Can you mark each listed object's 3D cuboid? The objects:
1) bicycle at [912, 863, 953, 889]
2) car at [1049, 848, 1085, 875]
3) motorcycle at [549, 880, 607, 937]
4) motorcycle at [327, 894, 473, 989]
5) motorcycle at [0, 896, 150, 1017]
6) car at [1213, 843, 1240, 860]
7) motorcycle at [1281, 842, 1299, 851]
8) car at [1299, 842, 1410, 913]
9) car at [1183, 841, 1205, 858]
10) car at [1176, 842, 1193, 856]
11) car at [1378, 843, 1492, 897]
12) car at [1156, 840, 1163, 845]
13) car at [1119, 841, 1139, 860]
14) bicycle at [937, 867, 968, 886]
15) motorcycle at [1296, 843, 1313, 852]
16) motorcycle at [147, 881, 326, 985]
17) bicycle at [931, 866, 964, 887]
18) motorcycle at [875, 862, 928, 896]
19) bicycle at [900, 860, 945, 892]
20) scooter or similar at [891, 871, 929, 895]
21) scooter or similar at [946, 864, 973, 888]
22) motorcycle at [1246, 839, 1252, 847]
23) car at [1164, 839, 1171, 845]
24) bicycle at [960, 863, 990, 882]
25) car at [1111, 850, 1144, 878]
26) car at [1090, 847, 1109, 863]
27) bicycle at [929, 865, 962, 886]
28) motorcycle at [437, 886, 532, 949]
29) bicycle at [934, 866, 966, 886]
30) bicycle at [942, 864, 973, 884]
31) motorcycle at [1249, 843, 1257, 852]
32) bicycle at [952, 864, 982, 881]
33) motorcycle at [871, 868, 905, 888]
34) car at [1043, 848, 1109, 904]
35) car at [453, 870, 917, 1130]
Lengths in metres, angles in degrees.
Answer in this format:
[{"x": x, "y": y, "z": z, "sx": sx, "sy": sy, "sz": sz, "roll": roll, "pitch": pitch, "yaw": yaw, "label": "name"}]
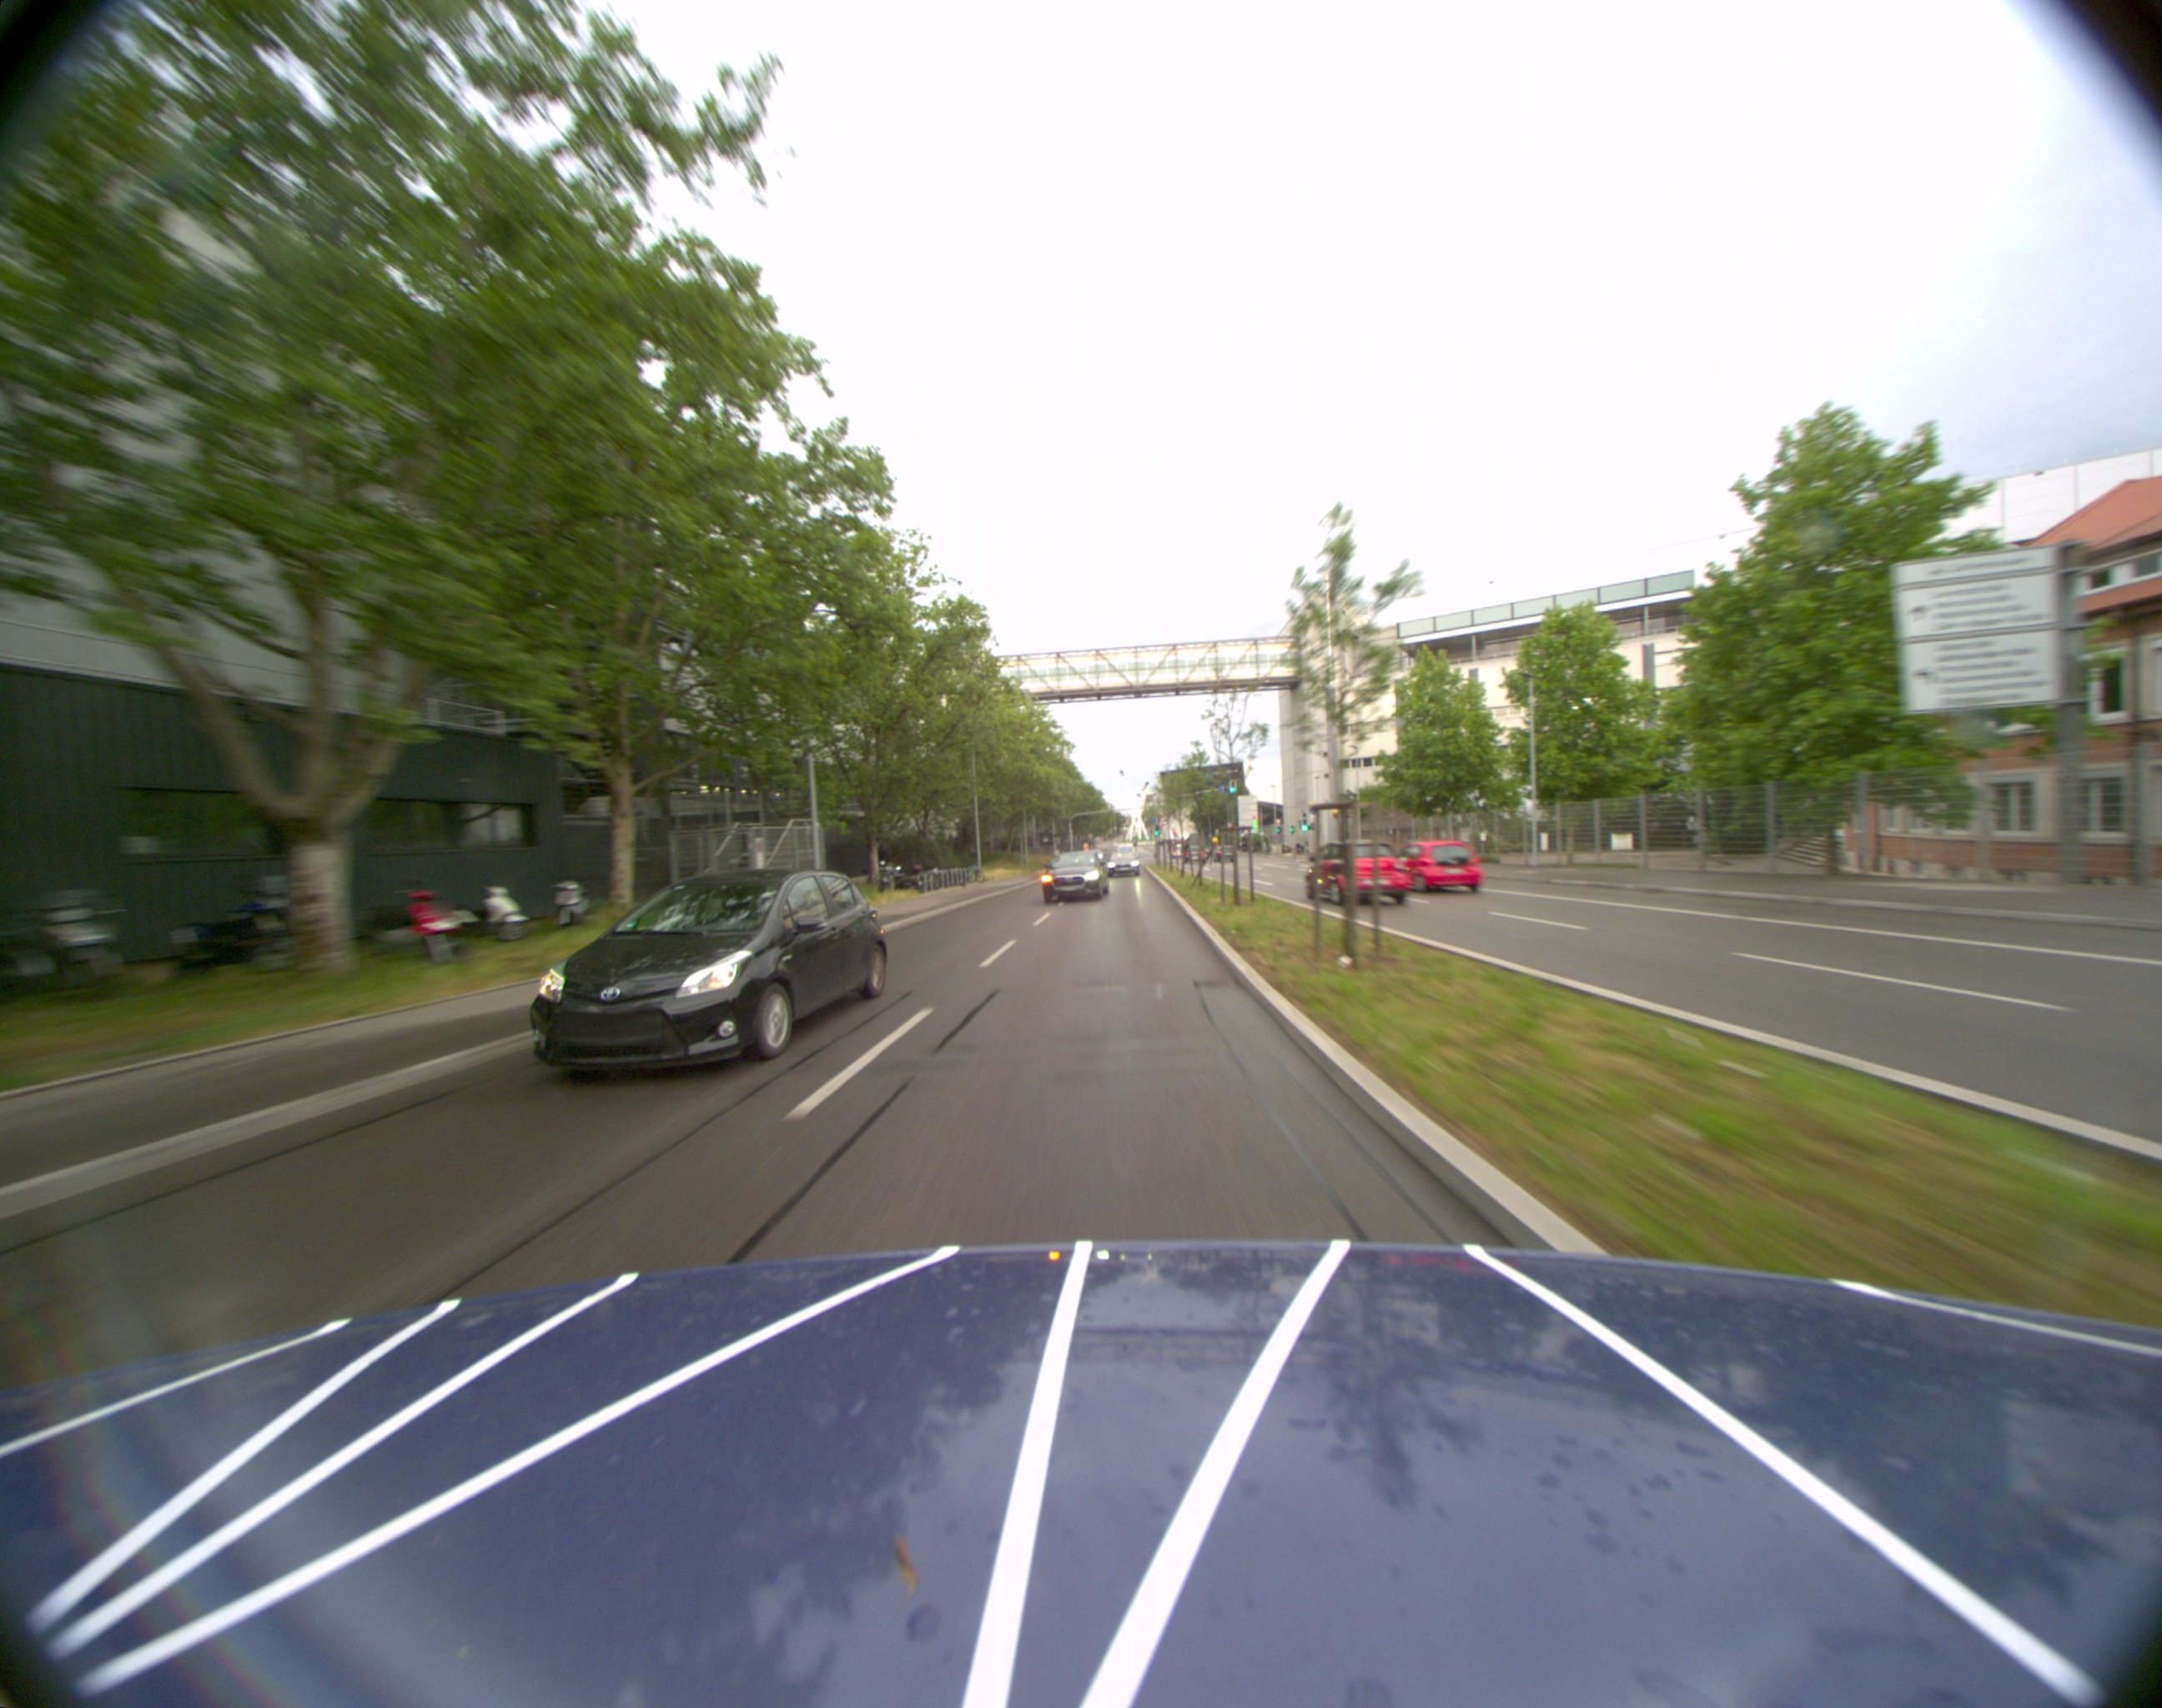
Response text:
[{"x": -6.930, "y": 1.021, "z": 35.478, "sx": 1.793, "sy": 1.160, "sz": 0.448, "roll": -2, "pitch": 1, "yaw": -2, "label": "bicycle"}, {"x": -0.815, "y": 0.445, "z": 46.598, "sx": 1.749, "sy": 1.422, "sz": 4.517, "roll": -3, "pitch": 1, "yaw": 3, "label": "car"}, {"x": -11.420, "y": 1.207, "z": 17.297, "sx": 0.478, "sy": 1.139, "sz": 1.894, "roll": -5, "pitch": 1, "yaw": -16, "label": "motorcycle"}, {"x": -9.213, "y": 1.180, "z": 10.288, "sx": 1.656, "sy": 1.143, "sz": 0.493, "roll": -4, "pitch": 1, "yaw": 11, "label": "motorcycle"}, {"x": -12.758, "y": 1.270, "z": 9.470, "sx": 1.502, "sy": 1.357, "sz": 0.506, "roll": -4, "pitch": 1, "yaw": -1, "label": "motorcycle"}, {"x": 12.875, "y": -0.224, "z": 67.471, "sx": 1.777, "sy": 1.396, "sz": 4.615, "roll": -2, "pitch": 1, "yaw": 4, "label": "car"}, {"x": 24.684, "y": -0.900, "z": 89.802, "sx": 0.628, "sy": 1.021, "sz": 2.165, "roll": -3, "pitch": 1, "yaw": -31, "label": "motorcycle"}, {"x": 6.713, "y": 0.503, "z": 19.071, "sx": 1.588, "sy": 1.596, "sz": 3.856, "roll": -1, "pitch": 1, "yaw": 3, "label": "car"}, {"x": 9.844, "y": -0.422, "z": 66.522, "sx": 1.581, "sy": 1.396, "sz": 4.112, "roll": -2, "pitch": 1, "yaw": 4, "label": "car"}, {"x": 12.136, "y": -0.623, "z": 89.114, "sx": 1.775, "sy": 1.580, "sz": 4.486, "roll": -1, "pitch": 1, "yaw": 5, "label": "car"}, {"x": 10.251, "y": 0.415, "z": 22.330, "sx": 1.719, "sy": 1.429, "sz": 3.772, "roll": -1, "pitch": 1, "yaw": 2, "label": "car"}, {"x": 22.932, "y": -3.346, "z": 222.317, "sx": 1.775, "sy": 1.580, "sz": 4.486, "roll": -1, "pitch": 1, "yaw": 5, "label": "car"}, {"x": 5.112, "y": -0.425, "z": 81.321, "sx": 2.034, "sy": 1.920, "sz": 4.332, "roll": -3, "pitch": 1, "yaw": 3, "label": "car"}, {"x": -6.710, "y": 1.160, "z": 39.670, "sx": 1.555, "sy": 0.953, "sz": 0.393, "roll": -2, "pitch": 1, "yaw": 3, "label": "bicycle"}, {"x": 25.755, "y": -0.791, "z": 87.768, "sx": 0.627, "sy": 1.021, "sz": 2.166, "roll": -2, "pitch": 1, "yaw": -23, "label": "motorcycle"}, {"x": -12.618, "y": 1.165, "z": 11.380, "sx": 1.933, "sy": 1.357, "sz": 0.506, "roll": -4, "pitch": 1, "yaw": -1, "label": "motorcycle"}, {"x": -6.774, "y": 1.144, "z": 38.610, "sx": 1.555, "sy": 0.999, "sz": 0.393, "roll": -2, "pitch": 1, "yaw": 3, "label": "bicycle"}, {"x": -7.045, "y": 0.988, "z": 29.792, "sx": 2.011, "sy": 1.266, "sz": 0.442, "roll": -1, "pitch": 1, "yaw": 16, "label": "motorcycle"}, {"x": -6.998, "y": 0.952, "z": 33.593, "sx": 1.864, "sy": 1.340, "sz": 0.447, "roll": -2, "pitch": 1, "yaw": -9, "label": "bicycle"}, {"x": -7.063, "y": 1.199, "z": 31.380, "sx": 1.476, "sy": 0.931, "sz": 0.366, "roll": -2, "pitch": 1, "yaw": 1, "label": "scooter or similar"}, {"x": -5.859, "y": 1.052, "z": 36.577, "sx": 1.216, "sy": 1.085, "sz": 0.312, "roll": -2, "pitch": 1, "yaw": -1, "label": "scooter or similar"}, {"x": 24.058, "y": -1.599, "z": 108.724, "sx": 0.626, "sy": 1.208, "sz": 1.968, "roll": -1, "pitch": 1, "yaw": 5, "label": "motorcycle"}, {"x": 26.646, "y": -3.731, "z": 233.883, "sx": 1.775, "sy": 1.580, "sz": 4.486, "roll": -1, "pitch": 1, "yaw": 5, "label": "car"}, {"x": -5.792, "y": 1.017, "z": 41.540, "sx": 1.555, "sy": 0.999, "sz": 0.393, "roll": -2, "pitch": 1, "yaw": 3, "label": "bicycle"}, {"x": 2.712, "y": 0.569, "z": 44.202, "sx": 1.819, "sy": 1.536, "sz": 4.065, "roll": -1, "pitch": -1, "yaw": 3, "label": "car"}, {"x": 1.984, "y": 0.098, "z": 80.725, "sx": 1.819, "sy": 1.571, "sz": 4.332, "roll": -3, "pitch": 1, "yaw": 3, "label": "car"}, {"x": -6.744, "y": 1.084, "z": 37.785, "sx": 1.555, "sy": 0.999, "sz": 0.393, "roll": -2, "pitch": 1, "yaw": 3, "label": "bicycle"}, {"x": -12.148, "y": 1.290, "z": 15.487, "sx": 1.641, "sy": 1.139, "sz": 0.560, "roll": -4, "pitch": 1, "yaw": 14, "label": "motorcycle"}, {"x": -6.779, "y": 1.133, "z": 39.257, "sx": 1.555, "sy": 0.953, "sz": 0.393, "roll": -2, "pitch": 1, "yaw": 3, "label": "bicycle"}, {"x": -6.601, "y": 1.052, "z": 40.585, "sx": 1.555, "sy": 0.999, "sz": 0.393, "roll": -2, "pitch": 1, "yaw": 3, "label": "bicycle"}, {"x": 22.831, "y": -0.832, "z": 100.946, "sx": 0.568, "sy": 1.156, "sz": 2.039, "roll": -2, "pitch": 1, "yaw": 2, "label": "motorcycle"}, {"x": -6.504, "y": 1.043, "z": 43.389, "sx": 1.611, "sy": 0.934, "sz": 0.387, "roll": -2, "pitch": 1, "yaw": 3, "label": "bicycle"}, {"x": -10.196, "y": 1.278, "z": 40.172, "sx": 1.611, "sy": 0.996, "sz": 0.577, "roll": -2, "pitch": 1, "yaw": 3, "label": "motorcycle"}, {"x": -0.051, "y": 0.660, "z": 25.704, "sx": 1.819, "sy": 1.536, "sz": 5.609, "roll": -3, "pitch": 1, "yaw": 3, "label": "car"}, {"x": -3.127, "y": 1.024, "z": 7.340, "sx": 1.749, "sy": 1.461, "sz": 4.641, "roll": -3, "pitch": 1, "yaw": 3, "label": "car"}]
